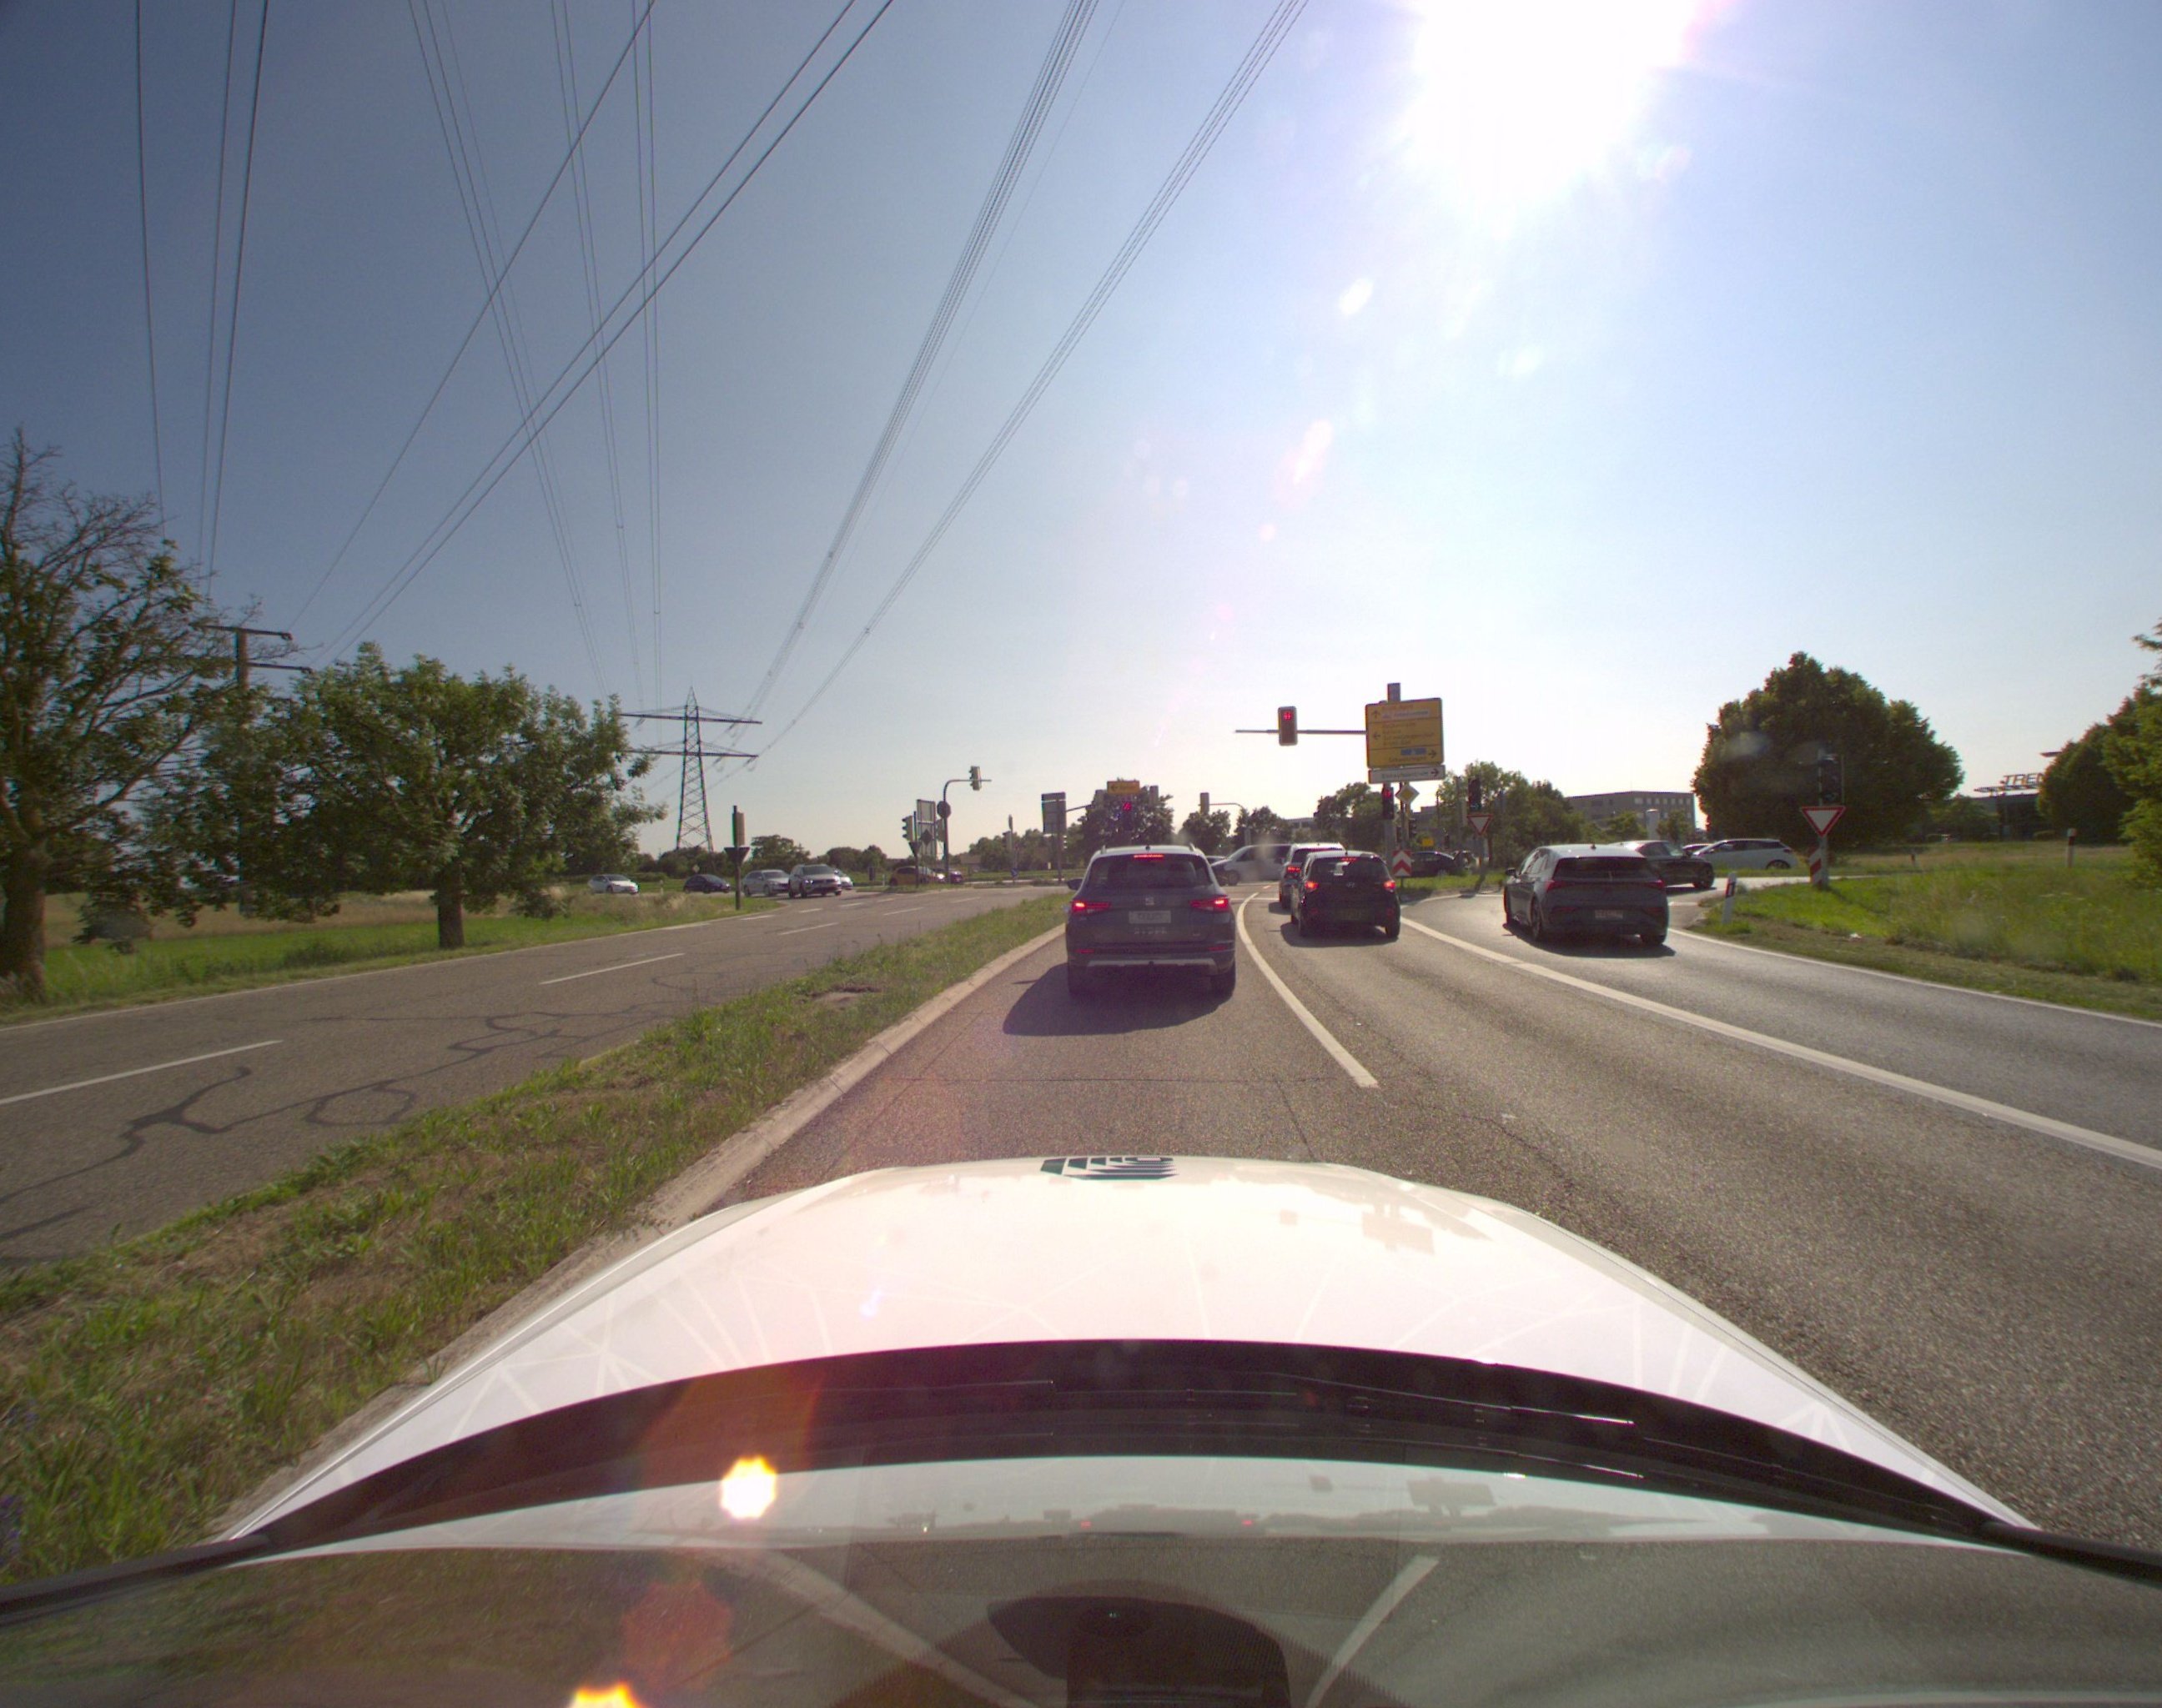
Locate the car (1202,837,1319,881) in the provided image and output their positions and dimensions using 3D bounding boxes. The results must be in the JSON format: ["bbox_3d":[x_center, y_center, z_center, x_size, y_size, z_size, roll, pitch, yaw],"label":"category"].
[{"bbox_3d":[8.247,0.213,37.647,4.926,1.918,1.996,-1,0,-7],"label":"car"}]

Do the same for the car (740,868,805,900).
[{"bbox_3d":[-17.081,1.666,45.052,3.950,1.651,1.831,-2,-1,44],"label":"car"}]

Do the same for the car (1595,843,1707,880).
[{"bbox_3d":[24.975,0.339,35.846,3.830,1.519,1.819,-2,-1,30],"label":"car"}]

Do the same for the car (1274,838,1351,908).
[{"bbox_3d":[6.011,0.470,21.458,1.622,1.677,3.761,-1,0,11],"label":"car"}]

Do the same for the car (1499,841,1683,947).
[{"bbox_3d":[8.443,0.551,13.880,1.758,1.517,4.119,-1,1,19],"label":"car"}]

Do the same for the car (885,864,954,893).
[{"bbox_3d":[-10.020,1.538,50.457,3.948,1.651,1.832,-2,-1,32],"label":"car"}]

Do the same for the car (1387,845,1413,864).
[{"bbox_3d":[31.938,0.050,81.473,1.699,1.819,3.801,0,0,33],"label":"car"}]

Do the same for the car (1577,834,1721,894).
[{"bbox_3d":[15.268,0.239,21.849,4.013,1.385,1.631,-2,0,-31],"label":"car"}]

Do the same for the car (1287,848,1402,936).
[{"bbox_3d":[4.770,0.628,15.121,1.622,1.448,3.305,-1,0,11],"label":"car"}]

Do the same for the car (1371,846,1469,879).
[{"bbox_3d":[16.926,0.427,40.751,4.280,1.519,1.819,-2,-1,30],"label":"car"}]

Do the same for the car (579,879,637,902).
[{"bbox_3d":[-36.451,2.804,62.690,4.699,1.651,1.832,-2,-1,32],"label":"car"}]

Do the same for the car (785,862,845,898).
[{"bbox_3d":[-13.079,1.251,39.845,1.827,1.651,3.959,-1,-1,-33],"label":"car"}]

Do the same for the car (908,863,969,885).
[{"bbox_3d":[-10.086,1.411,57.470,4.051,1.416,1.727,-2,-1,30],"label":"car"}]

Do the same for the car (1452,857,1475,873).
[{"bbox_3d":[39.166,1.107,83.430,1.859,1.673,3.793,0,0,30],"label":"car"}]

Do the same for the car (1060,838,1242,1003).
[{"bbox_3d":[0.806,0.660,9.781,1.734,1.569,3.628,-2,0,4],"label":"car"}]

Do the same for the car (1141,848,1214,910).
[{"bbox_3d":[2.598,0.603,21.275,1.731,1.484,3.634,0,0,9],"label":"car"}]

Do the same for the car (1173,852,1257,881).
[{"bbox_3d":[7.637,0.738,46.514,4.280,1.519,1.819,-2,-1,30],"label":"car"}]

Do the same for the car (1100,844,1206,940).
[{"bbox_3d":[1.343,0.637,15.210,1.734,1.569,3.629,0,0,5],"label":"car"}]

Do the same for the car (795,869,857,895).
[{"bbox_3d":[-17.324,1.888,55.305,3.948,1.651,1.832,-2,-1,32],"label":"car"}]

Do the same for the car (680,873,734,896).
[{"bbox_3d":[-28.545,2.306,62.209,3.948,1.651,1.832,-2,-1,32],"label":"car"}]

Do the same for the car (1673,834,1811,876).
[{"bbox_3d":[25.237,0.055,31.275,3.862,1.465,1.734,-2,0,31],"label":"car"}]
